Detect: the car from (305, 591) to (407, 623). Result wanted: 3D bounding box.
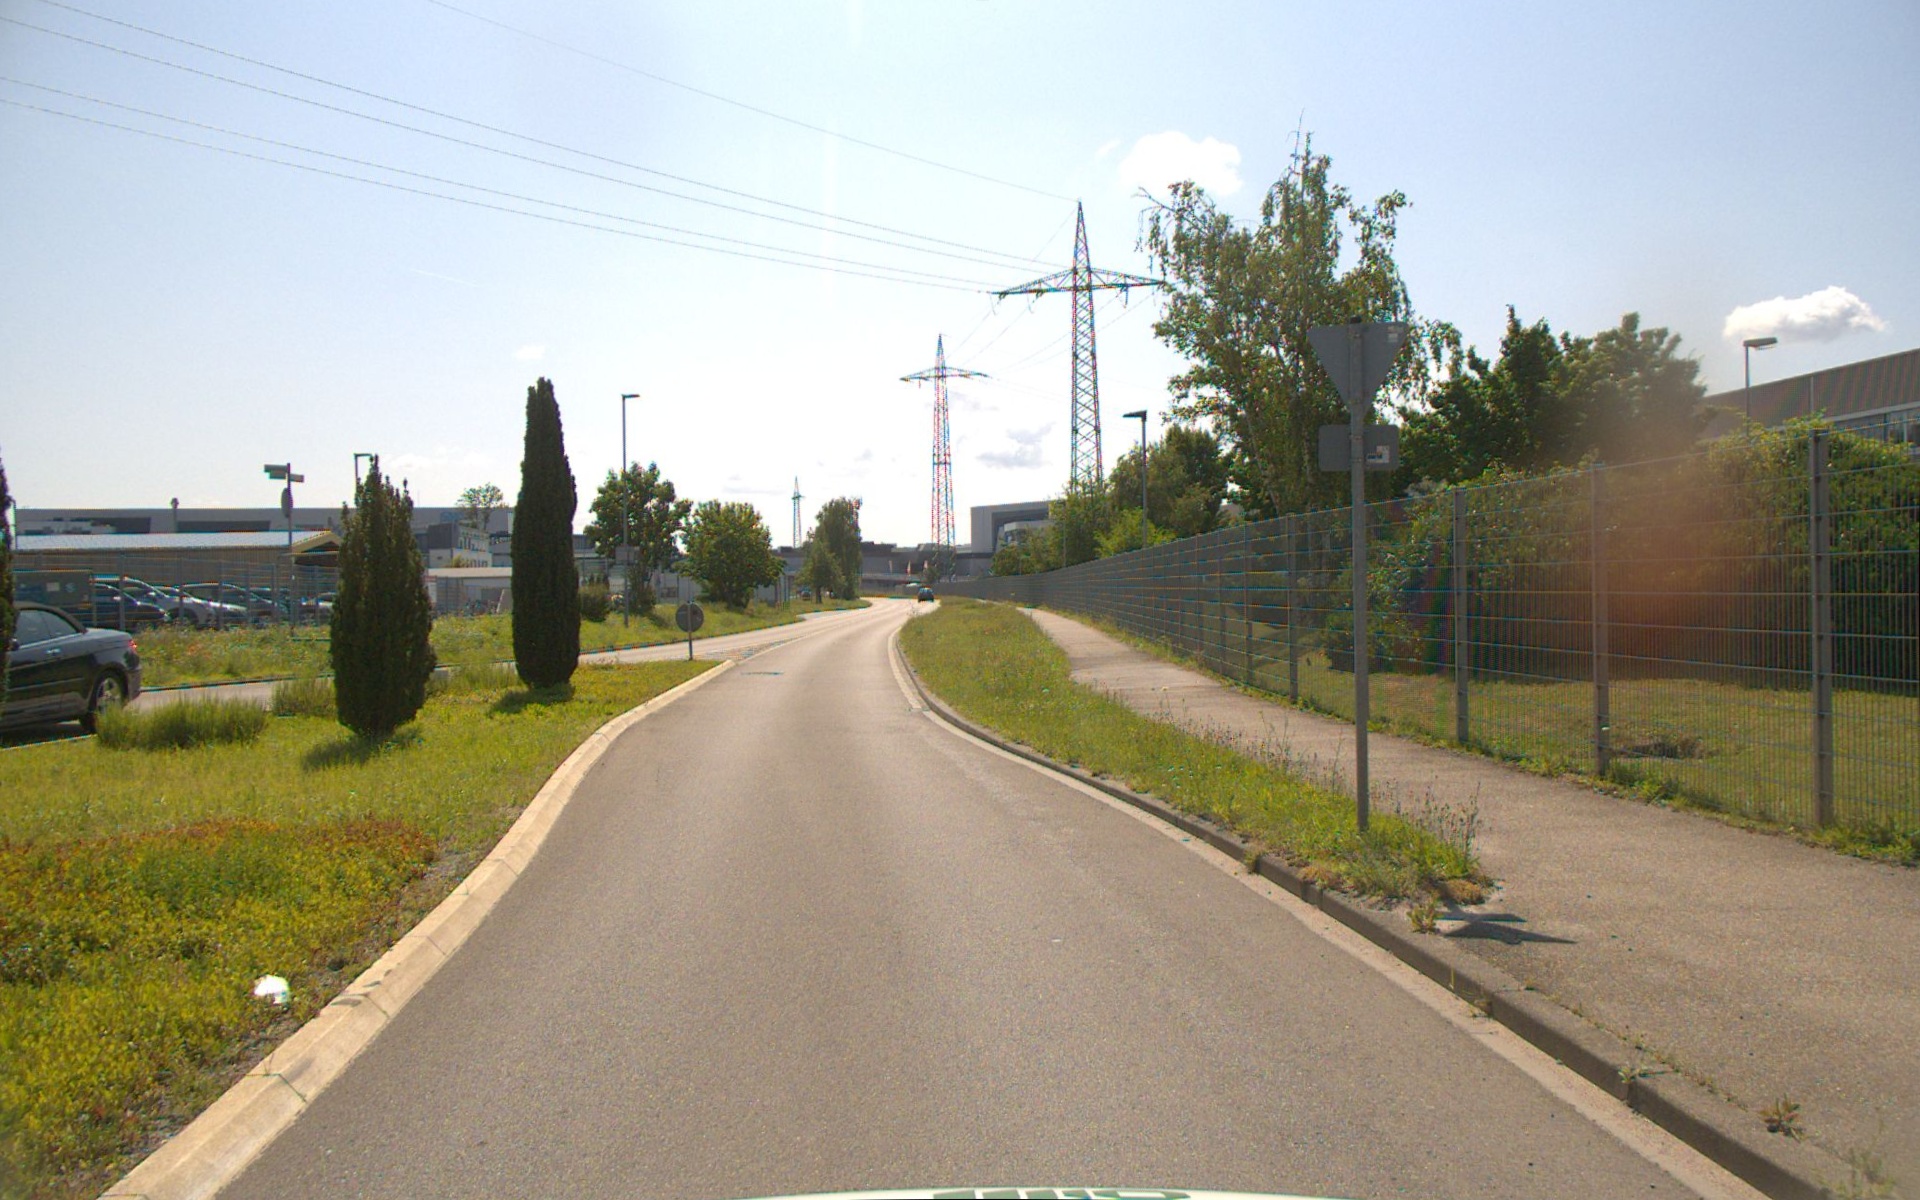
[{"bbox_3d":[-26.882,0.302,73.608,3.951,1.333,1.920,-1,0,-34],"label":"car"}]

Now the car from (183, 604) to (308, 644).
[{"bbox_3d":[-25.859,0.848,59.903,3.948,1.333,1.922,-1,0,-32],"label":"car"}]

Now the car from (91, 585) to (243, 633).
[{"bbox_3d":[-24.031,0.266,50.173,3.951,1.333,1.920,-2,0,-34],"label":"car"}]

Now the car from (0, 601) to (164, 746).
[{"bbox_3d":[-10.435,0.752,17.195,1.860,1.418,4.866,-1,0,1],"label":"car"}]

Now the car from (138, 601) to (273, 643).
[{"bbox_3d":[-25.766,0.728,56.500,3.951,1.333,1.920,-1,0,-34],"label":"car"}]

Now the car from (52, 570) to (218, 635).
[{"bbox_3d":[-23.516,0.063,47.164,4.059,1.734,1.703,-2,0,-34],"label":"car"}]

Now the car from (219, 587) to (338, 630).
[{"bbox_3d":[-26.175,0.313,63.582,3.951,1.567,1.920,-1,0,-34],"label":"car"}]

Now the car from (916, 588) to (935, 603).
[{"bbox_3d":[-3.886,-0.501,183.716,1.972,1.534,3.998,-1,0,-3],"label":"car"}]
